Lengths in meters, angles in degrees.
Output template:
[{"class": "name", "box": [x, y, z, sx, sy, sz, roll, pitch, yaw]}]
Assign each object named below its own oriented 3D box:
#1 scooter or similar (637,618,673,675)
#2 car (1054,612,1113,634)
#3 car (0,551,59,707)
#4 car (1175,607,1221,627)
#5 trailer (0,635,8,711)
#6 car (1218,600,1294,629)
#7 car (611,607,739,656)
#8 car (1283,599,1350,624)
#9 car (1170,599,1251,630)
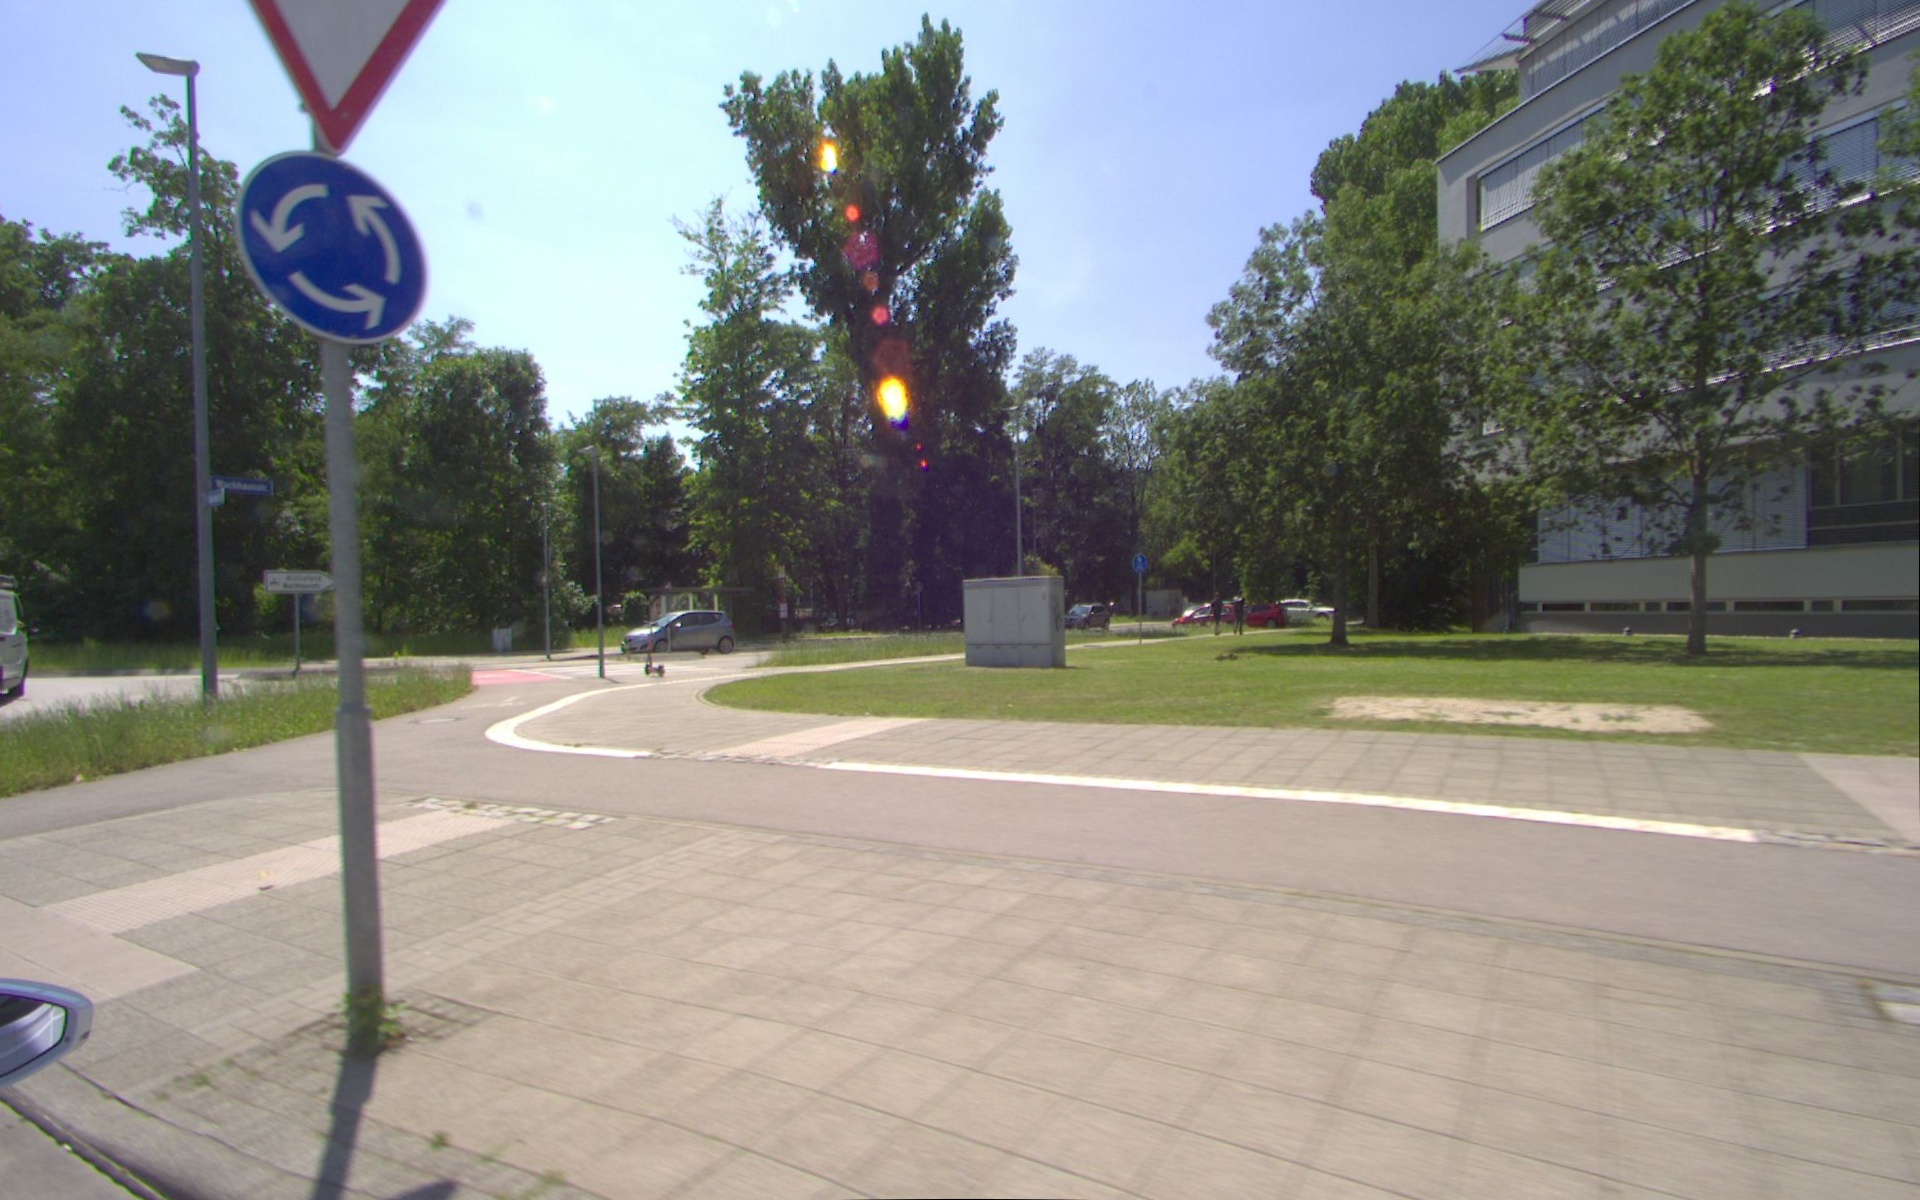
[{"class": "scooter or similar", "box": [-6.774, 1.021, 22.193, 0.441, 1.217, 1.392, 0, -1, -30]}, {"class": "car", "box": [7.694, 1.417, 62.104, 1.974, 1.327, 3.975, -2, -2, 36]}, {"class": "car", "box": [-16.598, 0.501, 16.437, 2.146, 2.346, 4.947, 0, -1, -36]}, {"class": "car", "box": [18.316, 1.325, 77.110, 1.976, 1.488, 3.972, -2, -2, 38]}, {"class": "trailer", "box": [-14.207, 1.025, 13.047, 2.101, 1.111, 3.333, 0, -2, -35]}, {"class": "car", "box": [16.207, 0.802, 54.872, 3.633, 1.502, 1.859, -2, -1, 33]}, {"class": "car", "box": [-10.100, 1.095, 35.715, 1.771, 1.627, 4.093, -2, -2, 42]}, {"class": "car", "box": [22.273, 0.745, 62.650, 3.633, 1.502, 1.859, -2, -1, 33]}, {"class": "car", "box": [12.826, 0.760, 51.264, 3.633, 1.502, 1.859, -2, -1, 33]}]
